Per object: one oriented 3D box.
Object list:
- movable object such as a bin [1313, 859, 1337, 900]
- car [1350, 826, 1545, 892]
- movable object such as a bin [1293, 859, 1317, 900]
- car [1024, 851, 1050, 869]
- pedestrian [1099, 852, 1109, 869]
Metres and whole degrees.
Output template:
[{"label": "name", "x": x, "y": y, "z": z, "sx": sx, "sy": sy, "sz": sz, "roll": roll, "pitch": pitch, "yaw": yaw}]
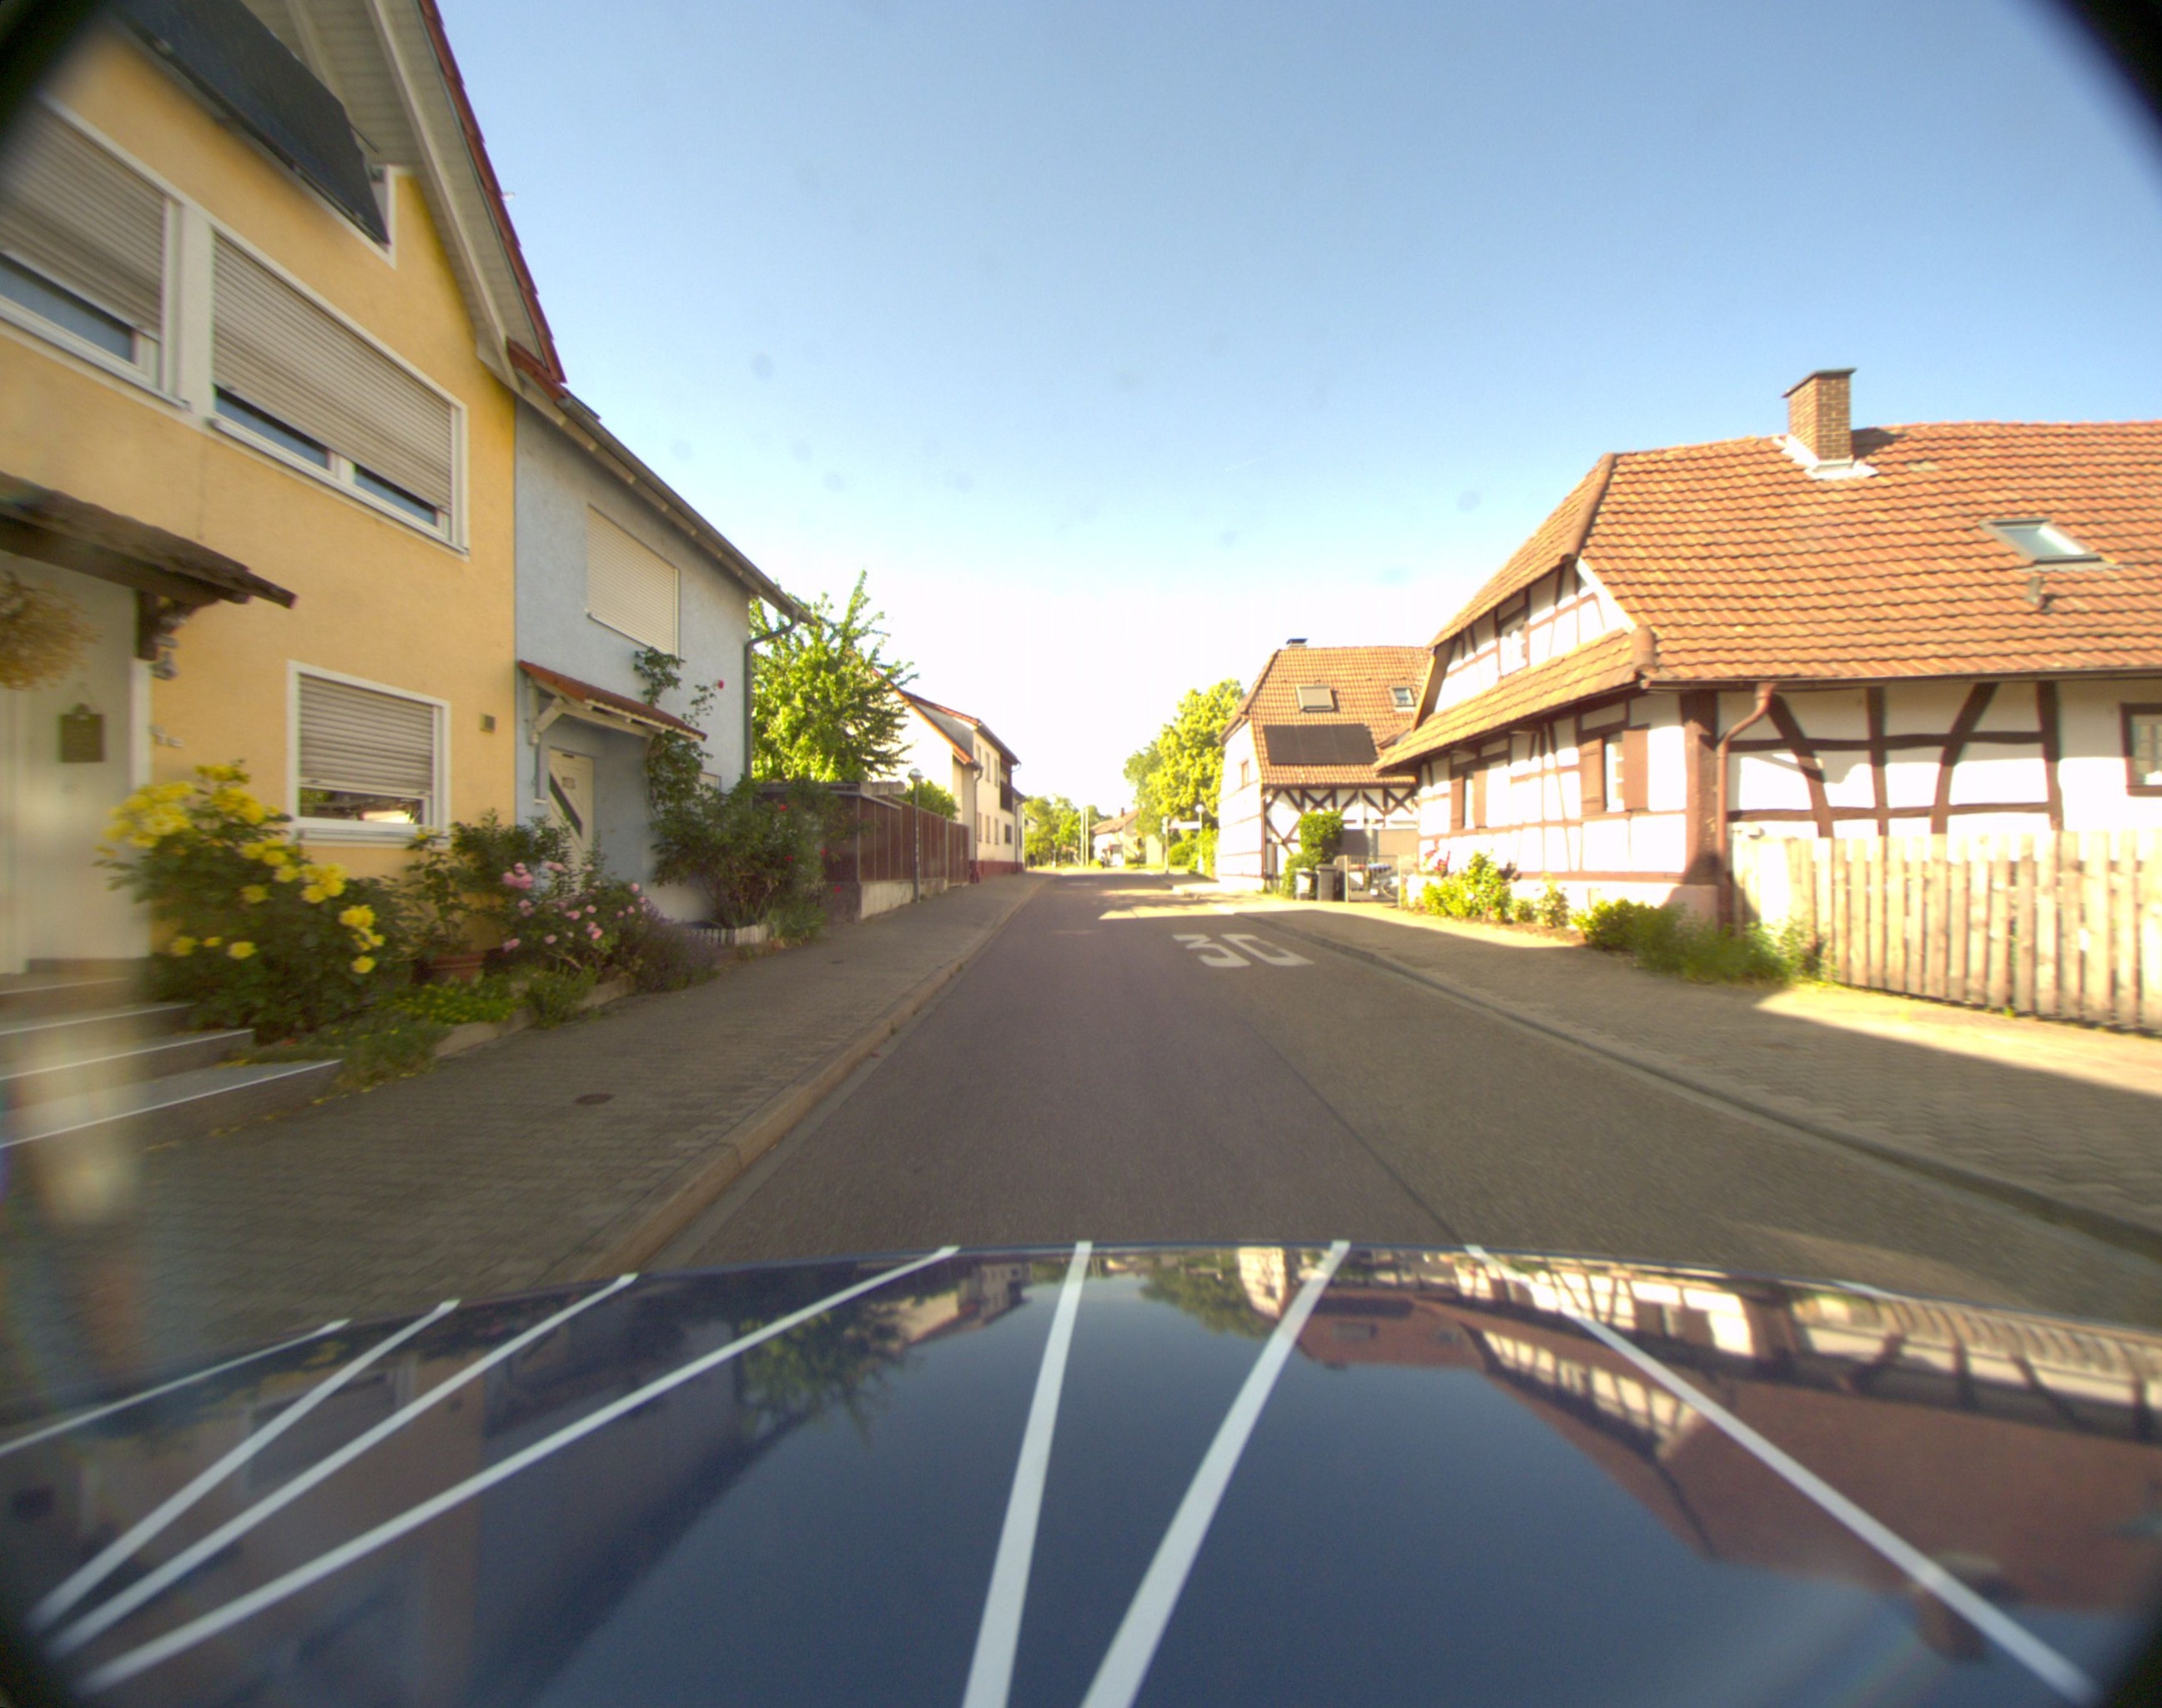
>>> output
[{"label": "movable object such as a bin", "x": 6.976, "y": 0.720, "z": 21.719, "sx": 0.477, "sy": 1.134, "sz": 0.667, "roll": -1, "pitch": 1, "yaw": 1}, {"label": "car", "x": 9.320, "y": 0.096, "z": 19.567, "sx": 4.113, "sy": 1.583, "sz": 1.819, "roll": 0, "pitch": 2, "yaw": 1}, {"label": "movable object such as a bin", "x": 6.401, "y": 0.725, "z": 21.723, "sx": 0.477, "sy": 1.134, "sz": 0.667, "roll": -1, "pitch": 1, "yaw": 1}, {"label": "car", "x": -4.793, "y": 0.652, "z": 82.743, "sx": 1.967, "sy": 1.908, "sz": 4.572, "roll": -1, "pitch": 0, "yaw": -15}, {"label": "pedestrian", "x": 2.504, "y": 0.687, "z": 83.112, "sx": 0.716, "sy": 1.793, "sz": 0.772, "roll": -1, "pitch": 2, "yaw": 29}]
